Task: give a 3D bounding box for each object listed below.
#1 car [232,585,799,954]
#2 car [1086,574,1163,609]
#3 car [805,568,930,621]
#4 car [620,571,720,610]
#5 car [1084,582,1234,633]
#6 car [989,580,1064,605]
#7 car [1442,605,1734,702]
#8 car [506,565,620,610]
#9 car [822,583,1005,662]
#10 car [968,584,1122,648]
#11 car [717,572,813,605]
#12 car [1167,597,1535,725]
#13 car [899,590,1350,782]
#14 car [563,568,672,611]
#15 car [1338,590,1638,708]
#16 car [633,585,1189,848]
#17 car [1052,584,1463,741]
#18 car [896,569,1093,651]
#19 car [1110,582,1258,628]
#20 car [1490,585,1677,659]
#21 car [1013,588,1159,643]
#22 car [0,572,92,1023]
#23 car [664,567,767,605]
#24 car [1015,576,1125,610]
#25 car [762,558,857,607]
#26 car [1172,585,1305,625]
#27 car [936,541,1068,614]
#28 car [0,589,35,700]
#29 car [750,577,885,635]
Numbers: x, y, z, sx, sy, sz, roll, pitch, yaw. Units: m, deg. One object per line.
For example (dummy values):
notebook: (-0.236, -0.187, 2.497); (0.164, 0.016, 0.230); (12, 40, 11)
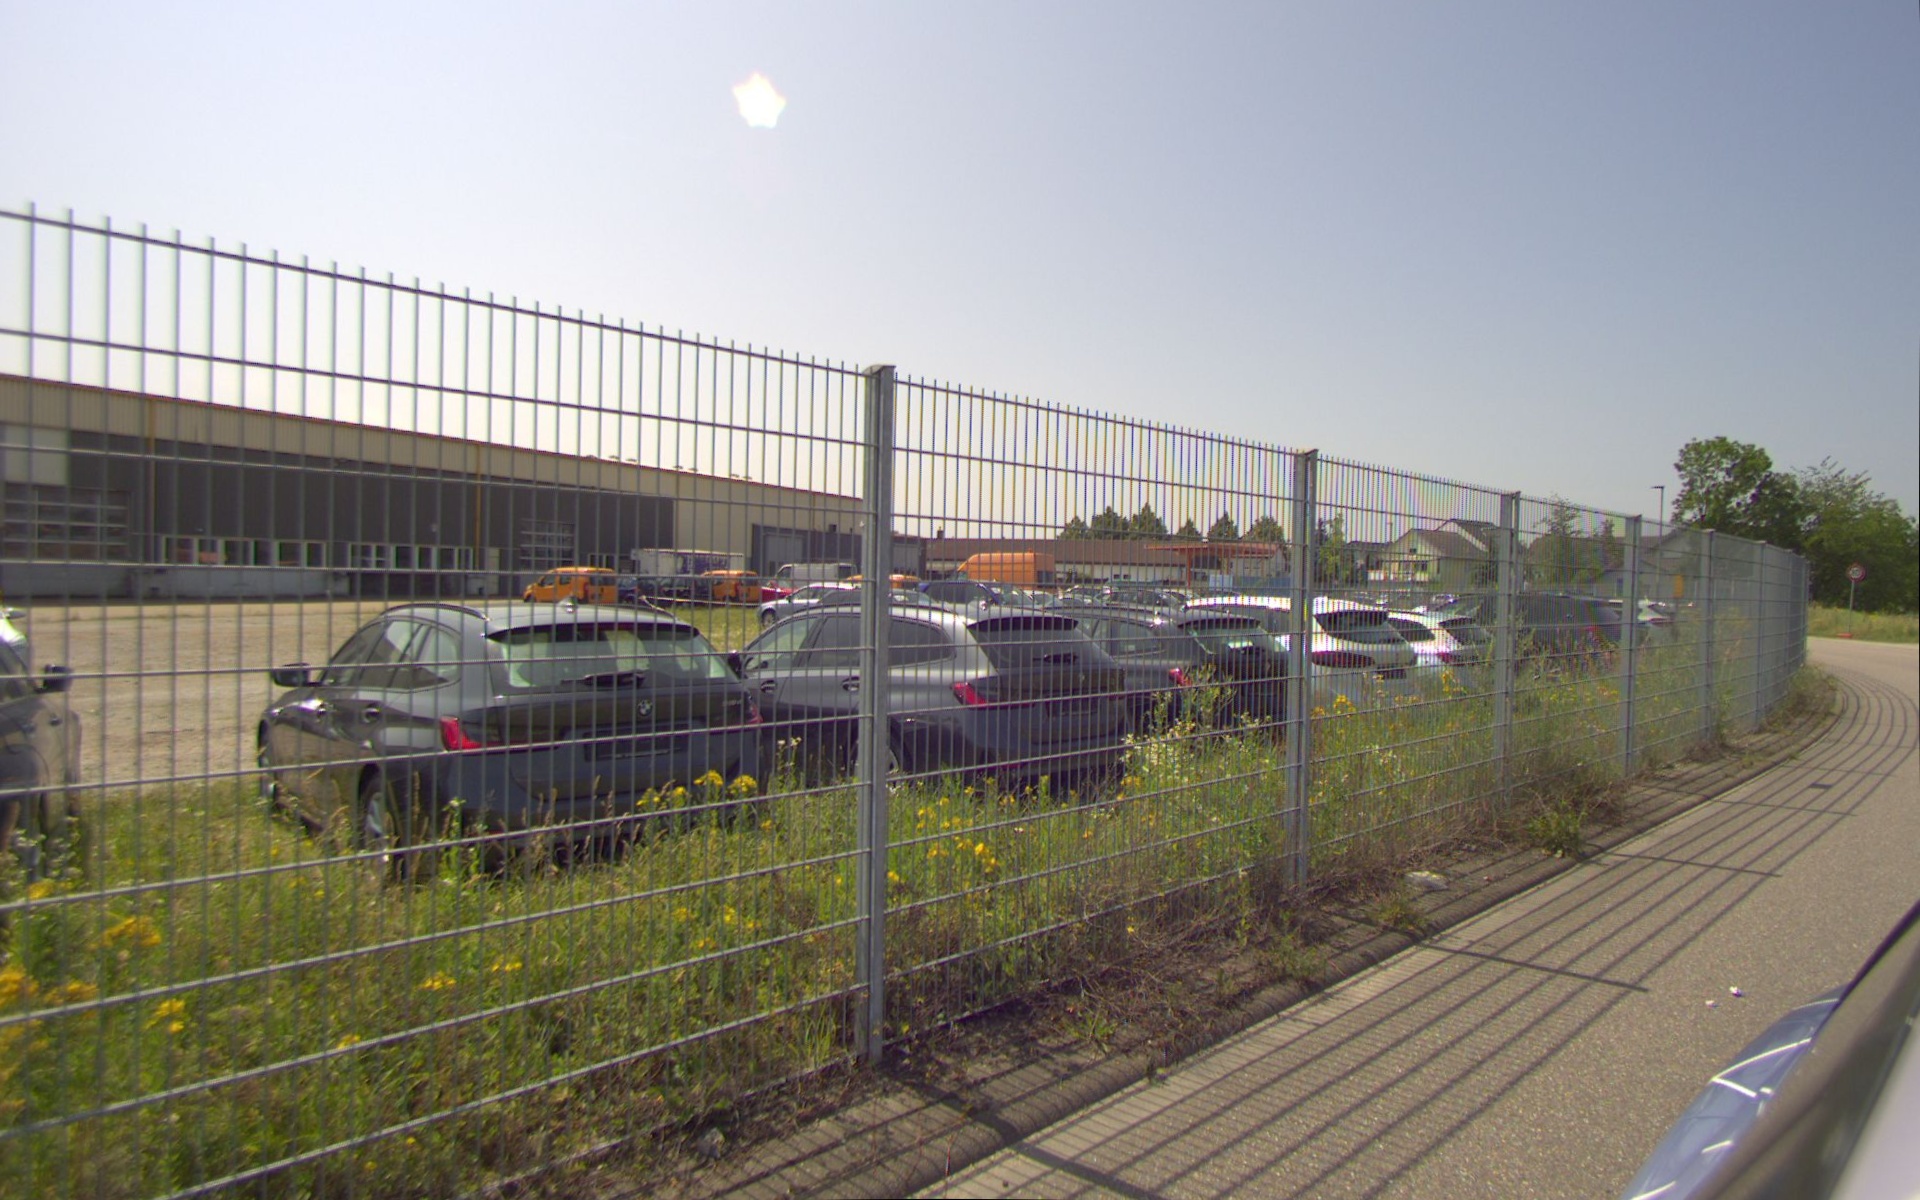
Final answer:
car: (-2.969, 0.693, 6.099); (1.611, 1.424, 4.510); (0, -1, -45)
car: (10.323, -0.556, 63.606); (4.360, 2.006, 1.819); (3, 1, 34)
car: (-2.957, -0.193, 32.027); (3.804, 1.480, 1.569); (3, 1, 34)
car: (-12.312, -0.426, 42.892); (3.971, 1.482, 1.977); (2, 1, 33)
car: (6.529, 0.218, 33.435); (4.545, 1.450, 1.642); (3, 1, 34)
car: (4.185, -0.482, 64.000); (4.360, 1.395, 1.820); (3, 1, 34)
car: (11.454, 0.899, 18.675); (1.736, 1.395, 4.284); (1, 1, -44)
car: (-14.934, -0.495, 38.007); (4.356, 1.504, 1.733); (3, 1, 32)
car: (-1.042, 0.432, 21.999); (3.748, 1.455, 1.592); (3, 1, 34)
car: (2.218, 0.382, 26.808); (3.748, 1.455, 1.592); (3, 1, 34)
car: (-9.071, -0.545, 47.029); (4.360, 1.395, 1.820); (3, 1, 34)
car: (5.055, 0.724, 13.520); (1.808, 1.424, 4.214); (0, -1, -43)
car: (1.328, 0.670, 9.760); (1.804, 1.424, 4.221); (0, -1, -37)
car: (-13.753, -0.437, 40.558); (4.356, 1.504, 1.733); (3, 1, 32)
car: (9.060, 0.748, 17.650); (1.735, 1.657, 4.285); (1, 1, -44)
car: (-0.662, 0.616, 7.773); (1.808, 1.424, 4.514); (0, 0, -43)
car: (3.135, 0.600, 11.469); (1.804, 1.424, 4.221); (0, -1, -37)
car: (0.762, 0.185, 24.106); (4.453, 1.669, 1.852); (3, 1, 38)
car: (7.836, 0.135, 35.615); (4.728, 1.368, 1.799); (3, 1, 34)
car: (16.589, 0.536, 27.113); (4.105, 1.690, 1.703); (3, 1, 33)
car: (3.496, 0.398, 28.361); (3.748, 1.318, 1.592); (3, 1, 34)
car: (-5.080, 0.670, 4.456); (1.735, 1.424, 4.519); (0, -1, -39)
car: (-10.877, -0.636, 44.988); (4.356, 1.504, 1.952); (3, 1, 32)
car: (4.707, -0.300, 43.570); (4.360, 1.285, 1.799); (3, 1, 34)
car: (-7.349, -0.865, 49.351); (4.356, 2.199, 1.952); (3, 1, 32)
car: (11.029, 0.168, 40.210); (4.728, 1.368, 1.799); (3, 1, 34)
car: (1.577, -0.875, 38.973); (4.715, 2.617, 1.956); (3, 1, 34)
car: (-14.164, 0.524, 13.632); (4.495, 1.368, 1.606); (2, 1, 35)
car: (-4.166, 0.151, 29.422); (3.804, 1.480, 1.569); (3, 1, 34)
